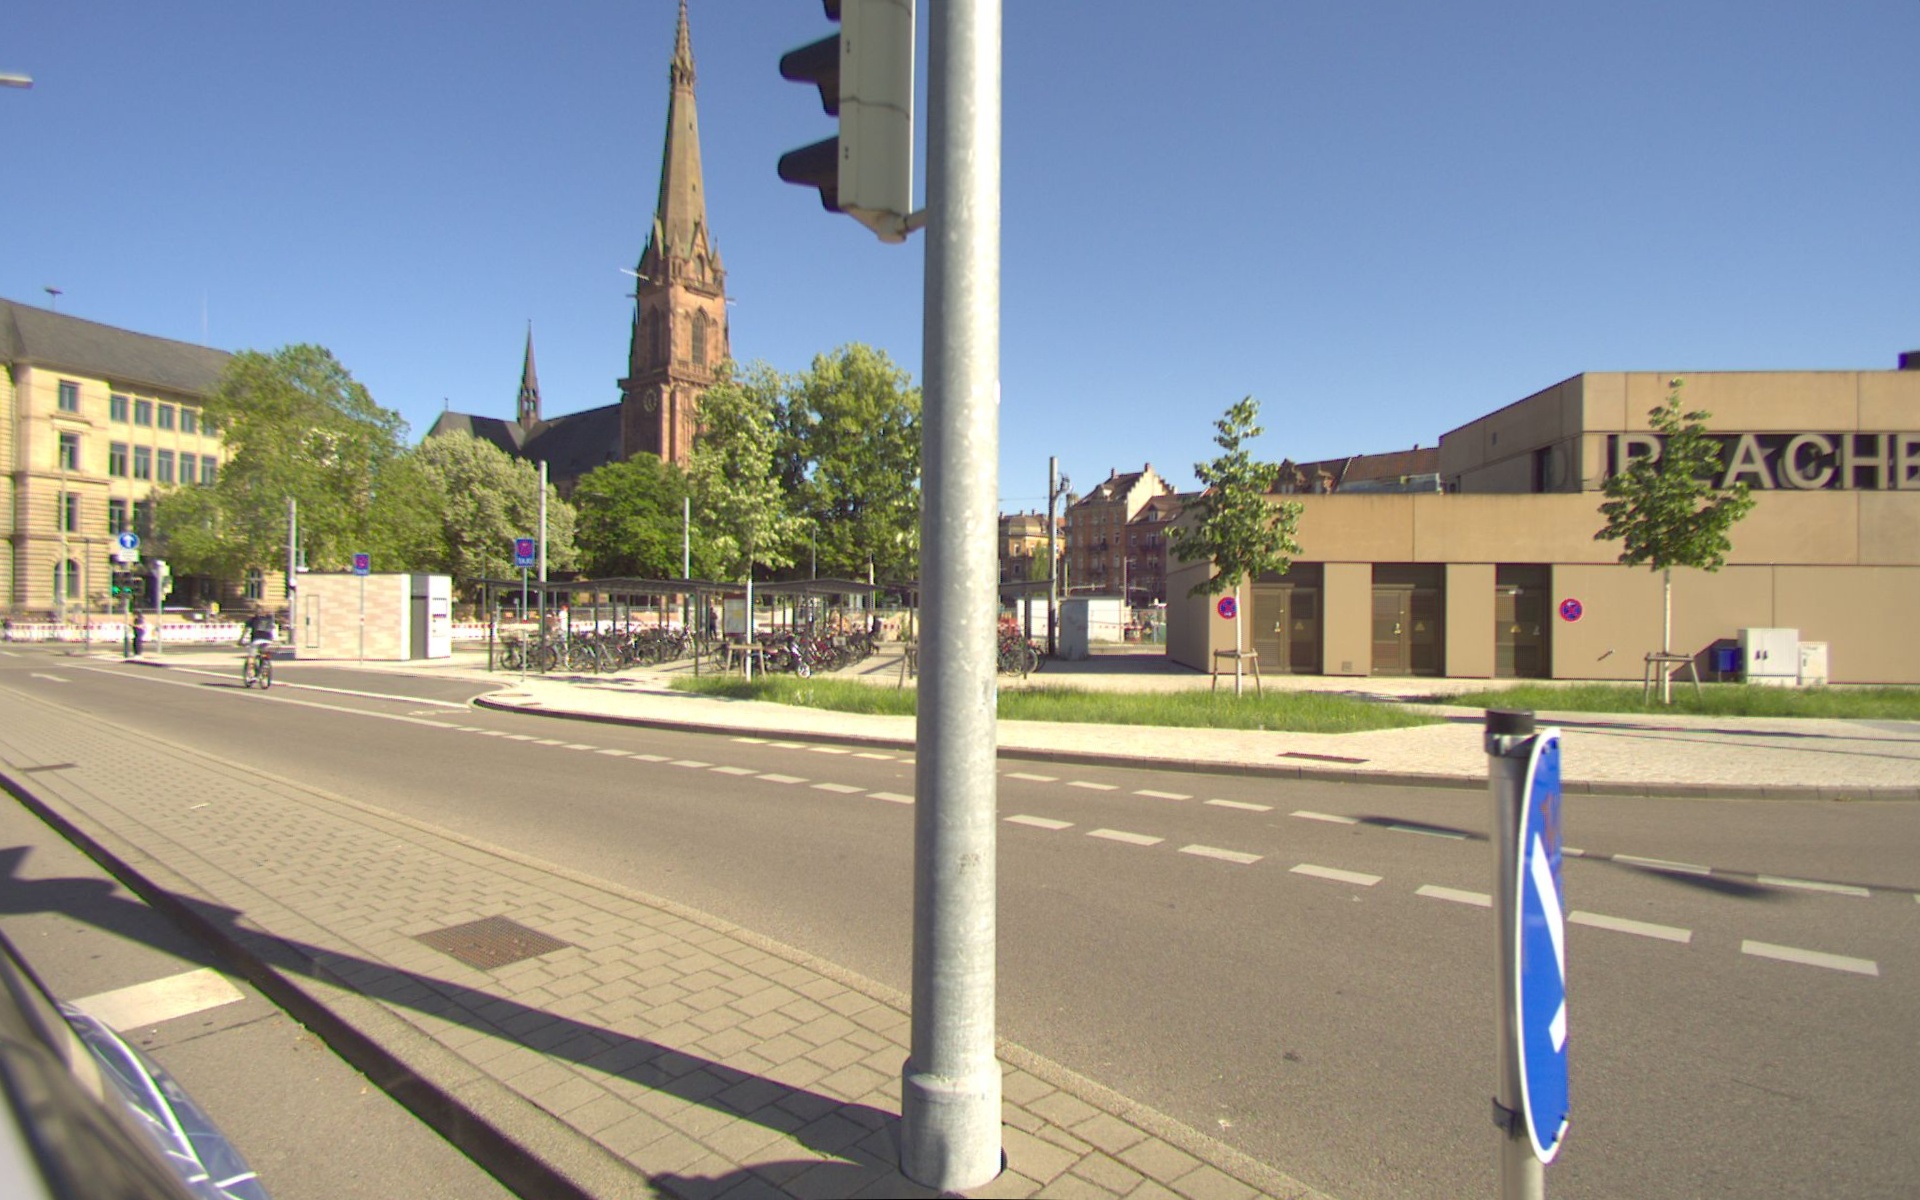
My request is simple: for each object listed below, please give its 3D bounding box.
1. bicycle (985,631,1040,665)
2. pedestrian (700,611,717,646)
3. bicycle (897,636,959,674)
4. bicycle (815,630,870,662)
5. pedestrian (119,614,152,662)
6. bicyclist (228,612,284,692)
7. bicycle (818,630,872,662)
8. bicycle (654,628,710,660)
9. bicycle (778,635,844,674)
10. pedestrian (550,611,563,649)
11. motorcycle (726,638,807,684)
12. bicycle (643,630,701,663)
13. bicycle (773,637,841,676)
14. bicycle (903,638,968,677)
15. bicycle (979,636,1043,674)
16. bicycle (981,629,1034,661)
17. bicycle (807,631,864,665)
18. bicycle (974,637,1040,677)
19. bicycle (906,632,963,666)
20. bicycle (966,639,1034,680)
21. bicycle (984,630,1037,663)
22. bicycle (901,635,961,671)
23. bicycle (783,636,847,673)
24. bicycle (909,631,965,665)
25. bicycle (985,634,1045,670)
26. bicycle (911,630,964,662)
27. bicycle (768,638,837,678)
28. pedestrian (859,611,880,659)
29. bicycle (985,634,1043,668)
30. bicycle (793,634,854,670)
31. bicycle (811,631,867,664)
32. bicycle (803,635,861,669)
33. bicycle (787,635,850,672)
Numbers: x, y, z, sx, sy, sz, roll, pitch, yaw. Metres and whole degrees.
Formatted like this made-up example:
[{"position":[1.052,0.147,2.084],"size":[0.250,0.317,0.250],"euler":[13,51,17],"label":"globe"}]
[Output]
[{"position":[1.693,1.566,33.020],"size":[1.764,1.046,0.567],"euler":[1,-2,3],"label":"bicycle"},{"position":[-12.306,1.384,49.562],"size":[0.518,1.667,0.560],"euler":[-1,1,41],"label":"pedestrian"},{"position":[-0.922,1.592,29.410],"size":[1.764,1.046,0.567],"euler":[1,-2,3],"label":"bicycle"},{"position":[-3.956,1.539,34.140],"size":[1.764,1.046,0.567],"euler":[1,-2,3],"label":"bicycle"},{"position":[-29.811,1.370,36.590],"size":[0.648,1.693,0.779],"euler":[-1,1,42],"label":"pedestrian"},{"position":[-14.841,1.087,21.341],"size":[0.977,1.633,0.712],"euler":[-1,-2,40],"label":"bicyclist"},{"position":[-3.935,1.568,34.777],"size":[1.764,1.046,0.567],"euler":[1,-2,3],"label":"bicycle"},{"position":[-9.683,1.531,35.275],"size":[1.764,1.046,0.567],"euler":[1,-2,3],"label":"bicycle"},{"position":[-4.205,1.532,28.640],"size":[1.764,1.046,0.567],"euler":[1,-2,3],"label":"bicycle"},{"position":[-18.899,1.402,47.379],"size":[0.529,1.736,0.684],"euler":[-1,-5,-20],"label":"pedestrian"},{"position":[-4.915,1.542,25.762],"size":[1.961,1.127,0.594],"euler":[0,-1,7],"label":"motorcycle"},{"position":[-9.684,1.559,34.015],"size":[1.764,1.046,0.567],"euler":[1,-2,3],"label":"bicycle"},{"position":[-4.222,1.558,28.035],"size":[1.764,1.046,0.567],"euler":[1,-2,3],"label":"bicycle"},{"position":[-0.664,1.596,28.121],"size":[1.764,1.046,0.567],"euler":[1,-2,3],"label":"bicycle"},{"position":[1.465,1.566,28.864],"size":[1.768,1.046,0.566],"euler":[1,-2,11],"label":"bicycle"},{"position":[1.627,1.543,34.609],"size":[1.764,1.046,0.567],"euler":[1,-2,3],"label":"bicycle"},{"position":[-4.031,1.553,32.903],"size":[1.764,1.046,0.567],"euler":[1,-2,3],"label":"bicycle"},{"position":[1.275,1.557,27.695],"size":[1.764,1.046,0.567],"euler":[1,-2,3],"label":"bicycle"},{"position":[-0.796,1.550,31.957],"size":[1.764,1.046,0.567],"euler":[1,-2,3],"label":"bicycle"},{"position":[1.061,1.568,26.758],"size":[1.764,1.046,0.567],"euler":[1,-2,3],"label":"bicycle"},{"position":[1.691,1.553,33.895],"size":[1.764,1.046,0.567],"euler":[1,-2,3],"label":"bicycle"},{"position":[-0.861,1.576,30.407],"size":[1.764,1.046,0.567],"euler":[1,-2,3],"label":"bicycle"},{"position":[-4.205,1.571,29.383],"size":[1.764,1.046,0.567],"euler":[1,-2,3],"label":"bicycle"},{"position":[-0.745,1.554,32.675],"size":[1.764,1.046,0.567],"euler":[1,-2,3],"label":"bicycle"},{"position":[1.650,1.561,30.323],"size":[1.764,1.046,0.567],"euler":[1,-2,3],"label":"bicycle"},{"position":[-0.752,1.540,34.090],"size":[1.764,1.046,0.567],"euler":[1,-2,3],"label":"bicycle"},{"position":[-4.256,1.557,27.371],"size":[1.764,1.046,0.567],"euler":[1,-2,3],"label":"bicycle"},{"position":[-3.276,1.252,36.575],"size":[0.672,1.736,0.617],"euler":[0,-1,2],"label":"pedestrian"},{"position":[1.680,1.588,31.608],"size":[1.764,1.046,0.567],"euler":[1,-2,3],"label":"bicycle"},{"position":[-4.131,1.562,30.709],"size":[1.764,1.046,0.567],"euler":[1,-2,3],"label":"bicycle"},{"position":[-3.991,1.569,33.505],"size":[1.764,1.046,0.567],"euler":[1,-2,3],"label":"bicycle"},{"position":[-4.058,1.639,32.136],"size":[1.764,1.046,0.567],"euler":[1,-2,3],"label":"bicycle"},{"position":[-4.181,1.576,30.019],"size":[1.764,1.046,0.567],"euler":[1,-2,3],"label":"bicycle"}]
